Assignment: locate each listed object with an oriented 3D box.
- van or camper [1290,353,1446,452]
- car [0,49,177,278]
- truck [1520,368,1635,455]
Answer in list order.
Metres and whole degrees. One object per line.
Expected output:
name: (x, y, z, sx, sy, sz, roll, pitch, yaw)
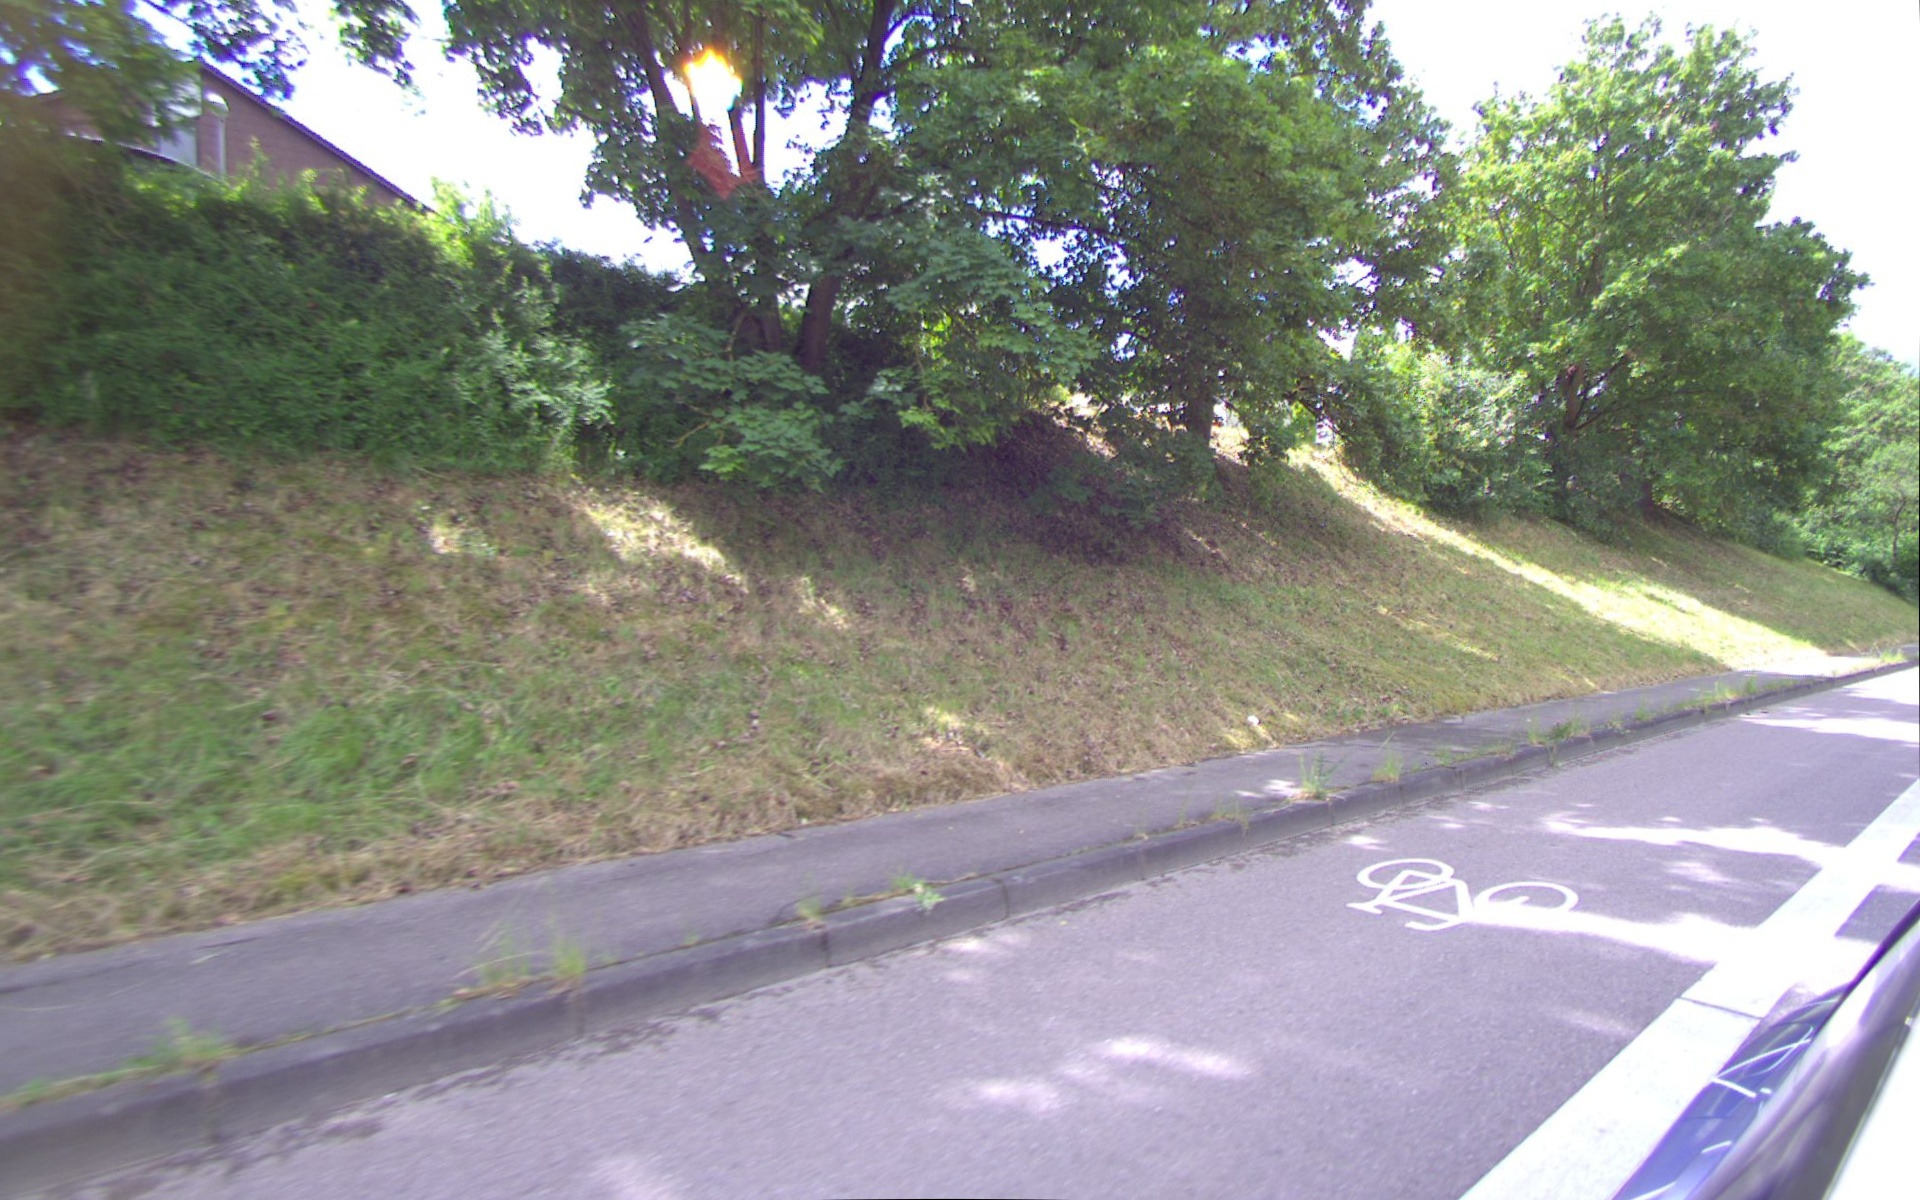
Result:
van or camper: (13.178, -6.197, 32.460, 6.056, 2.096, 2.220, 0, 0, -42)
car: (-10.994, -4.930, 10.910, 3.973, 1.708, 1.647, 0, 0, -41)
truck: (27.260, -8.146, 44.551, 6.916, 2.692, 2.354, 0, 0, -41)
